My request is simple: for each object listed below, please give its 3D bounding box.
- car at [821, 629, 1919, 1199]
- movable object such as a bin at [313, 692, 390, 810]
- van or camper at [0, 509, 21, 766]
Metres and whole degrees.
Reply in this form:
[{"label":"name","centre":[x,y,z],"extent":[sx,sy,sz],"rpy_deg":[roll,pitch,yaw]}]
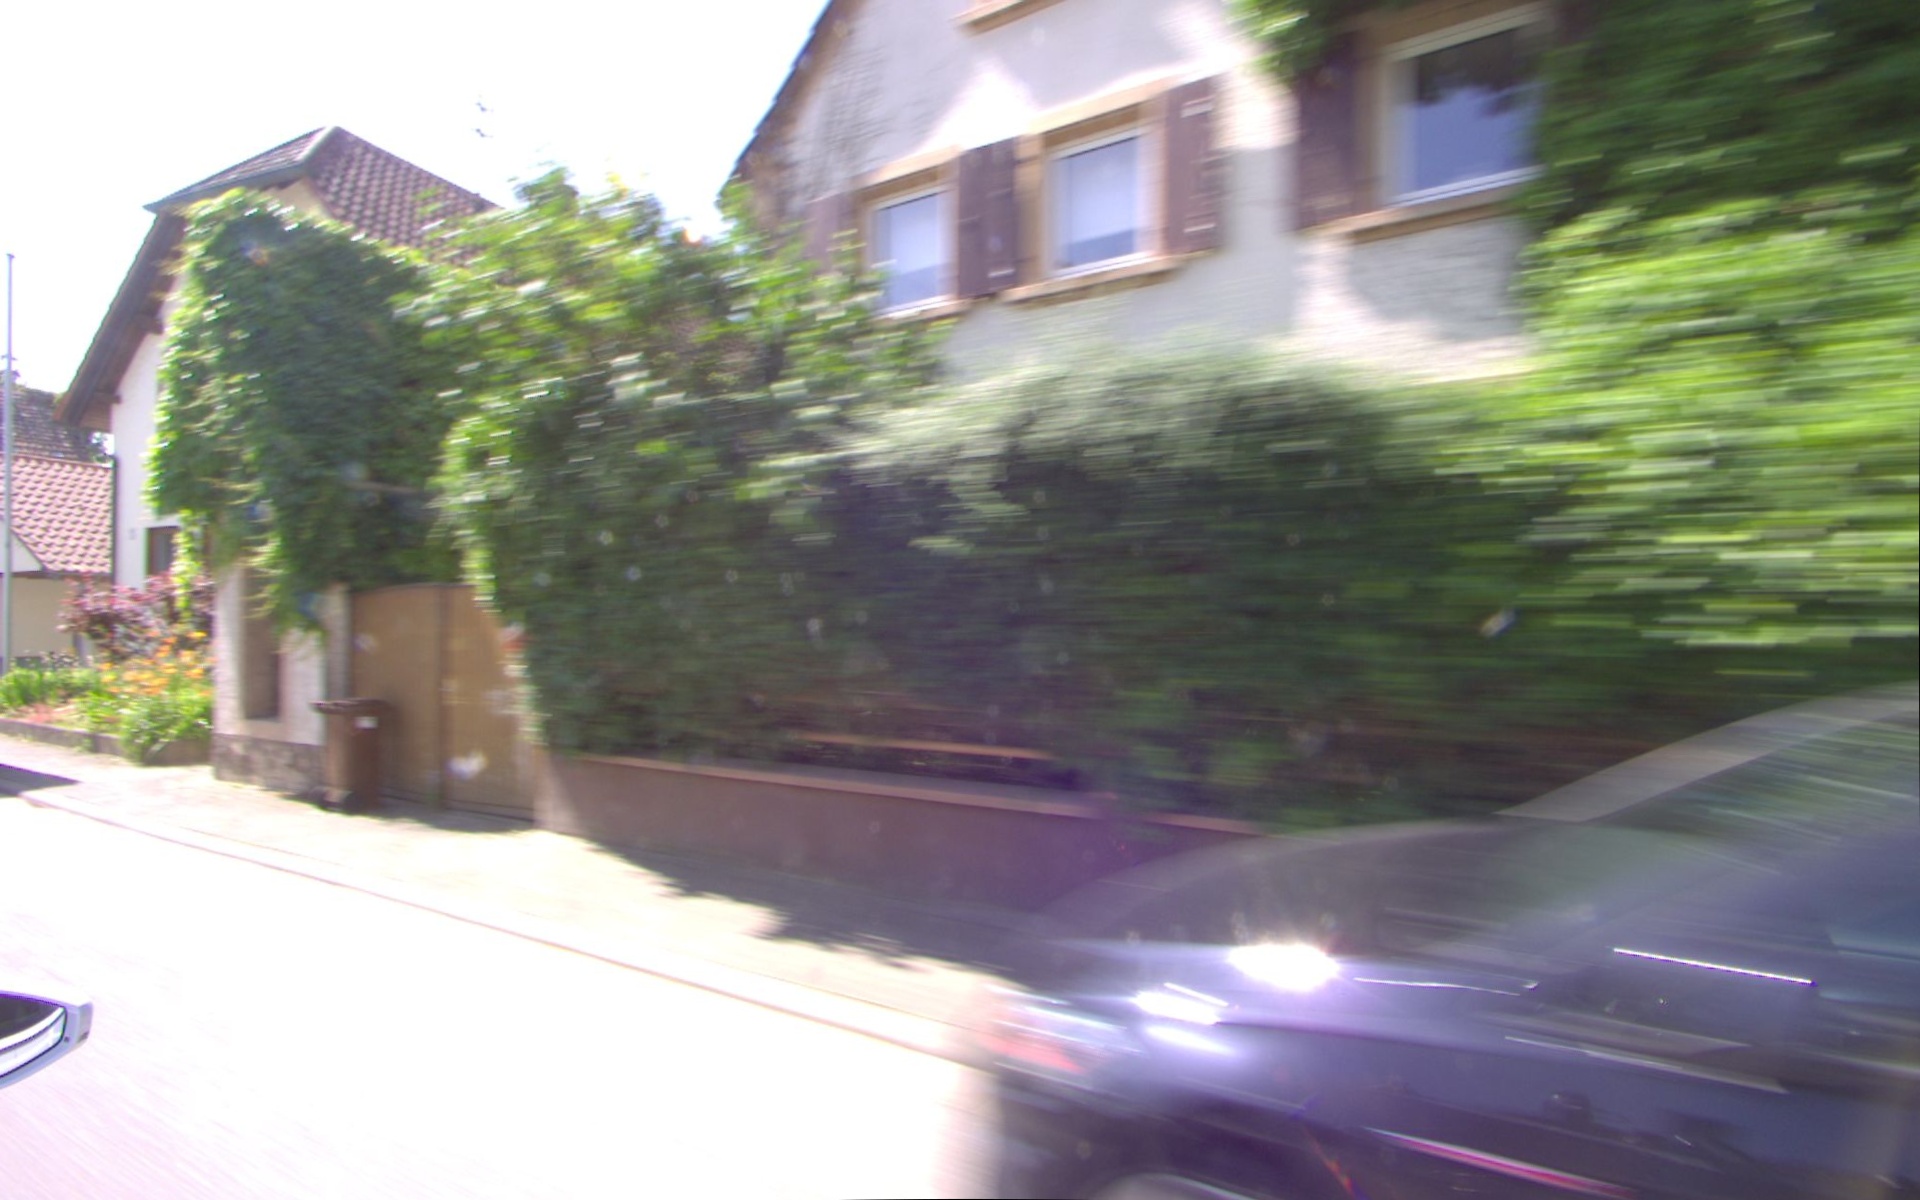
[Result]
[{"label":"car","centre":[1.842,0.801,1.660],"extent":[4.008,1.483,1.708],"rpy_deg":[-1,-1,34]},{"label":"movable object such as a bin","centre":[-5.153,1.266,8.488],"extent":[0.432,0.924,0.411],"rpy_deg":[0,0,32]},{"label":"van or camper","centre":[-12.696,0.399,10.949],"extent":[4.491,2.731,2.517],"rpy_deg":[-1,-2,33]}]
